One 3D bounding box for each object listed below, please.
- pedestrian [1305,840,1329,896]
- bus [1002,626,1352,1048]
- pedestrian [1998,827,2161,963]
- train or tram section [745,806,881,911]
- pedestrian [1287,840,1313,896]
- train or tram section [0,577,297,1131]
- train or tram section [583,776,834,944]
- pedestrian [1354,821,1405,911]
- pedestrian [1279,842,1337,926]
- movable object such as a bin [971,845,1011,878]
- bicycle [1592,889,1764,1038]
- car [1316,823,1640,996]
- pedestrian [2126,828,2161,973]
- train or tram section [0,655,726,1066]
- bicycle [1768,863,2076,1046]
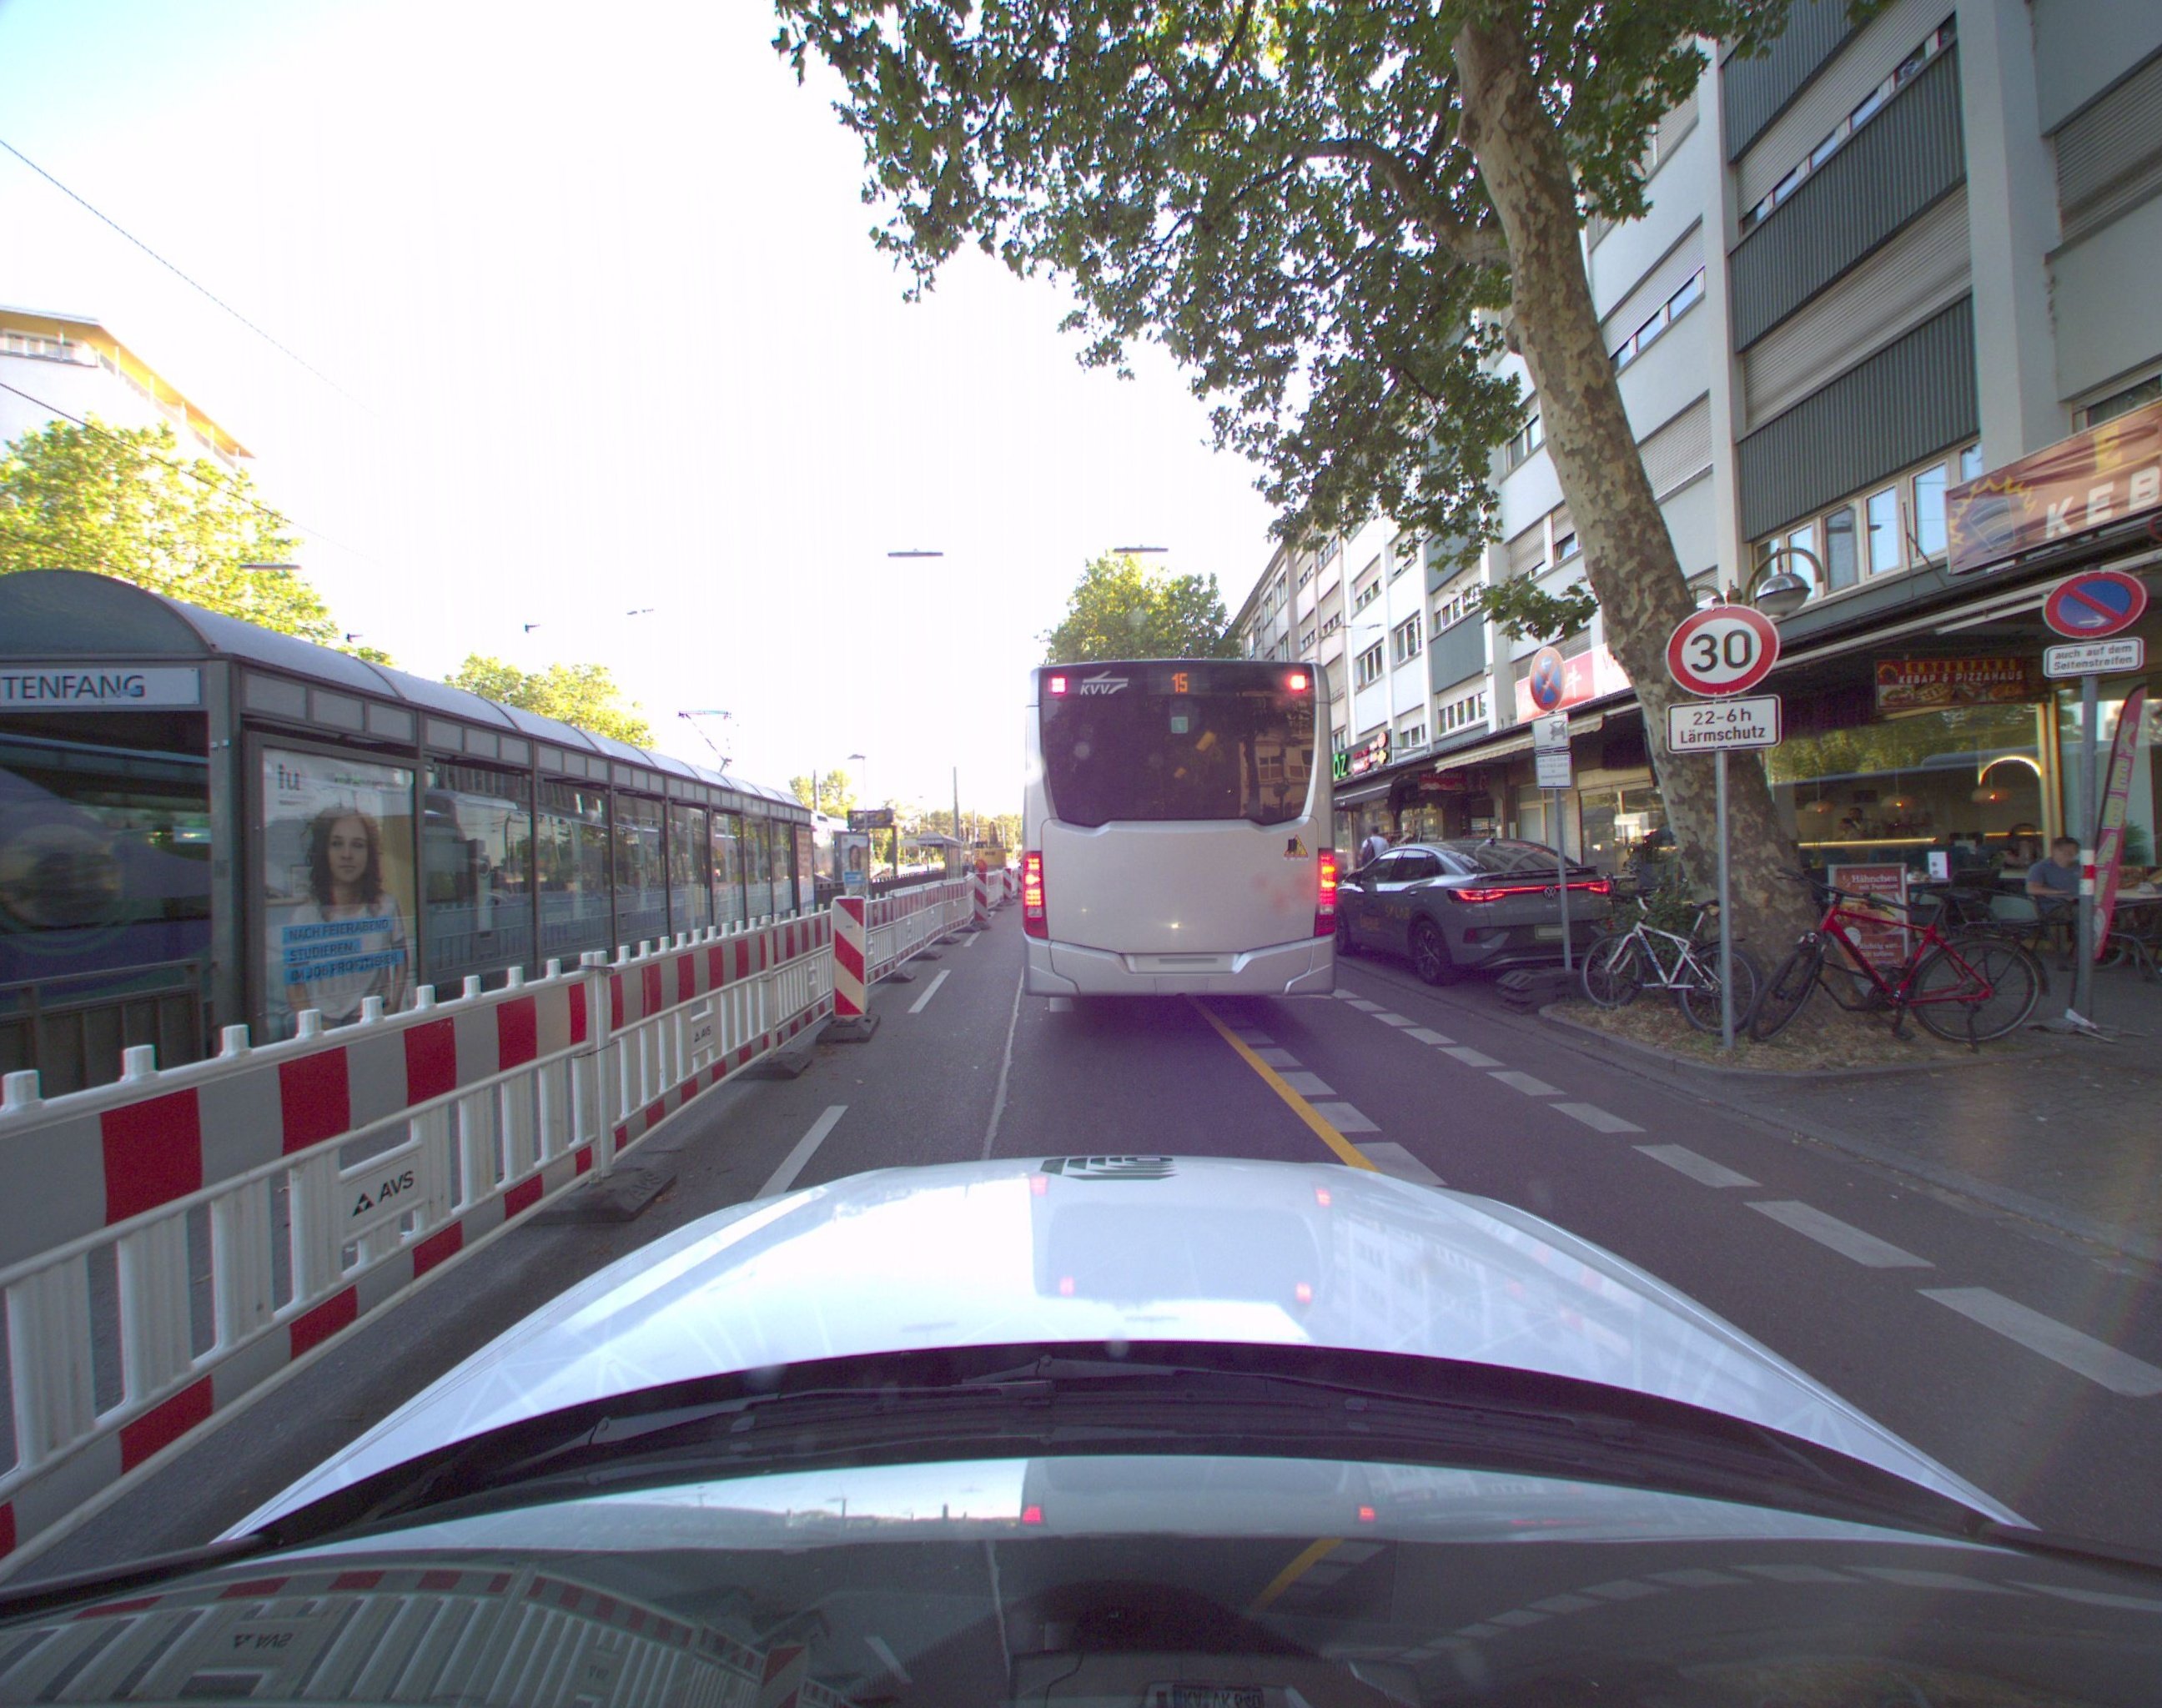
[{"bbox_3d":[8.728,0.509,30.117,0.610,2.014,0.696,-2,-1,1],"label":"pedestrian"},{"bbox_3d":[0.924,-0.126,11.369,2.598,3.170,10.297,-1,0,2],"label":"bus"},{"bbox_3d":[9.630,0.380,7.855,0.673,1.203,0.706,-5,-1,11],"label":"pedestrian"},{"bbox_3d":[-10.340,0.177,32.740,2.812,3.487,10.319,-2,0,-5],"label":"train or tram section"},{"bbox_3d":[8.032,0.510,29.898,0.688,2.014,0.696,-2,-1,1],"label":"pedestrian"},{"bbox_3d":[-8.014,0.001,1.897,2.830,3.487,10.324,-2,0,-4],"label":"train or tram section"},{"bbox_3d":[-9.464,0.161,22.448,2.831,3.487,10.321,-2,0,-5],"label":"train or tram section"},{"bbox_3d":[6.890,0.272,18.831,0.767,2.013,0.713,-3,-1,-2],"label":"pedestrian"},{"bbox_3d":[4.439,0.572,15.923,0.742,1.581,0.882,-3,-1,40],"label":"pedestrian"},{"bbox_3d":[-7.042,0.593,64.014,2.800,2.462,3.995,-2,0,-3],"label":"movable object such as a bin"},{"bbox_3d":[4.488,0.783,6.197,0.294,0.927,1.127,-6,2,-8],"label":"bicycle"},{"bbox_3d":[4.596,0.558,10.281,1.736,1.597,4.294,-4,0,-3],"label":"car"},{"bbox_3d":[9.568,0.384,6.819,0.612,1.243,0.714,-5,-1,11],"label":"pedestrian"},{"bbox_3d":[-8.722,0.076,12.172,2.865,3.487,10.323,-2,0,-4],"label":"train or tram section"},{"bbox_3d":[5.501,0.671,5.378,1.450,1.066,0.297,-6,2,13],"label":"bicycle"}]
